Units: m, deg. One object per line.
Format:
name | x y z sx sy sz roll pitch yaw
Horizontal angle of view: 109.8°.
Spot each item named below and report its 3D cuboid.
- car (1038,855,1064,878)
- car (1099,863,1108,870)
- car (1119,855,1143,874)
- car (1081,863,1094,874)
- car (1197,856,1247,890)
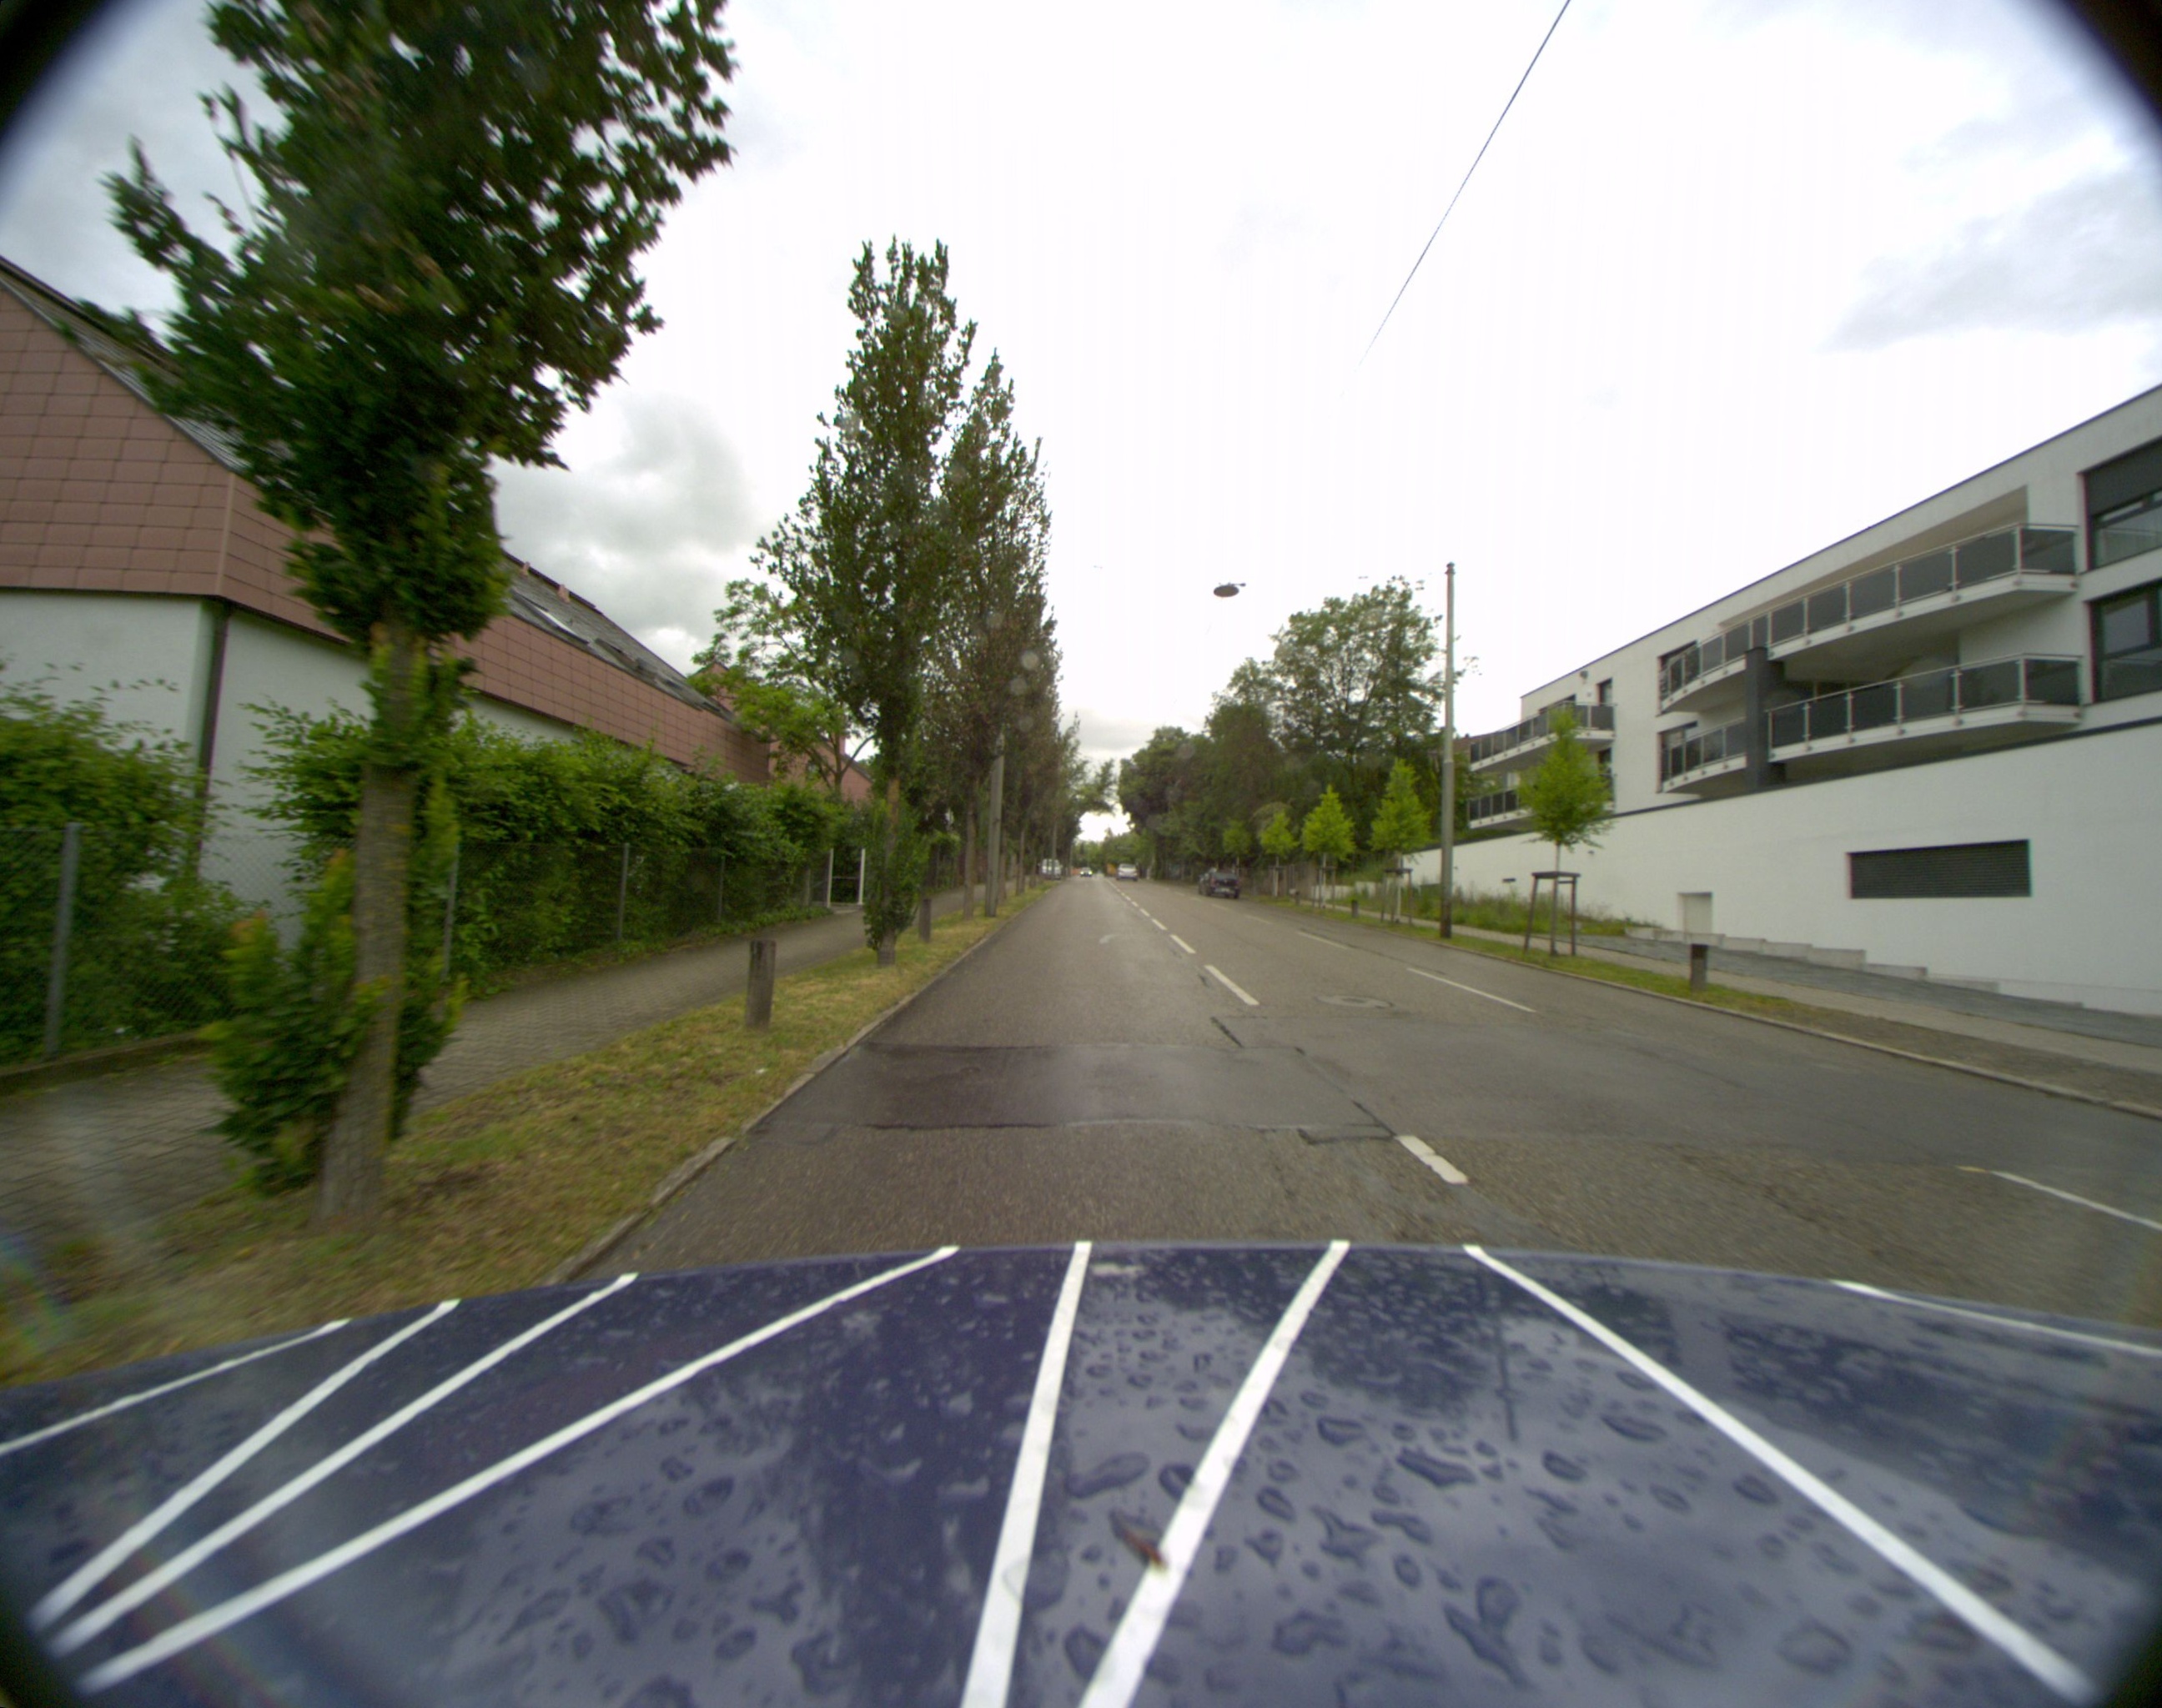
car | -2.342 0.969 60.179 1.829 1.620 3.999 4 0 -1
car | 4.928 2.667 164.060 1.798 1.500 4.093 2 0 0
car | 4.197 0.880 64.586 1.766 1.477 4.000 3 0 1
car | 1.104 2.441 126.653 1.998 1.673 4.002 -1 -1 3
car | 7.307 0.946 39.792 1.750 1.540 3.917 5 0 0
